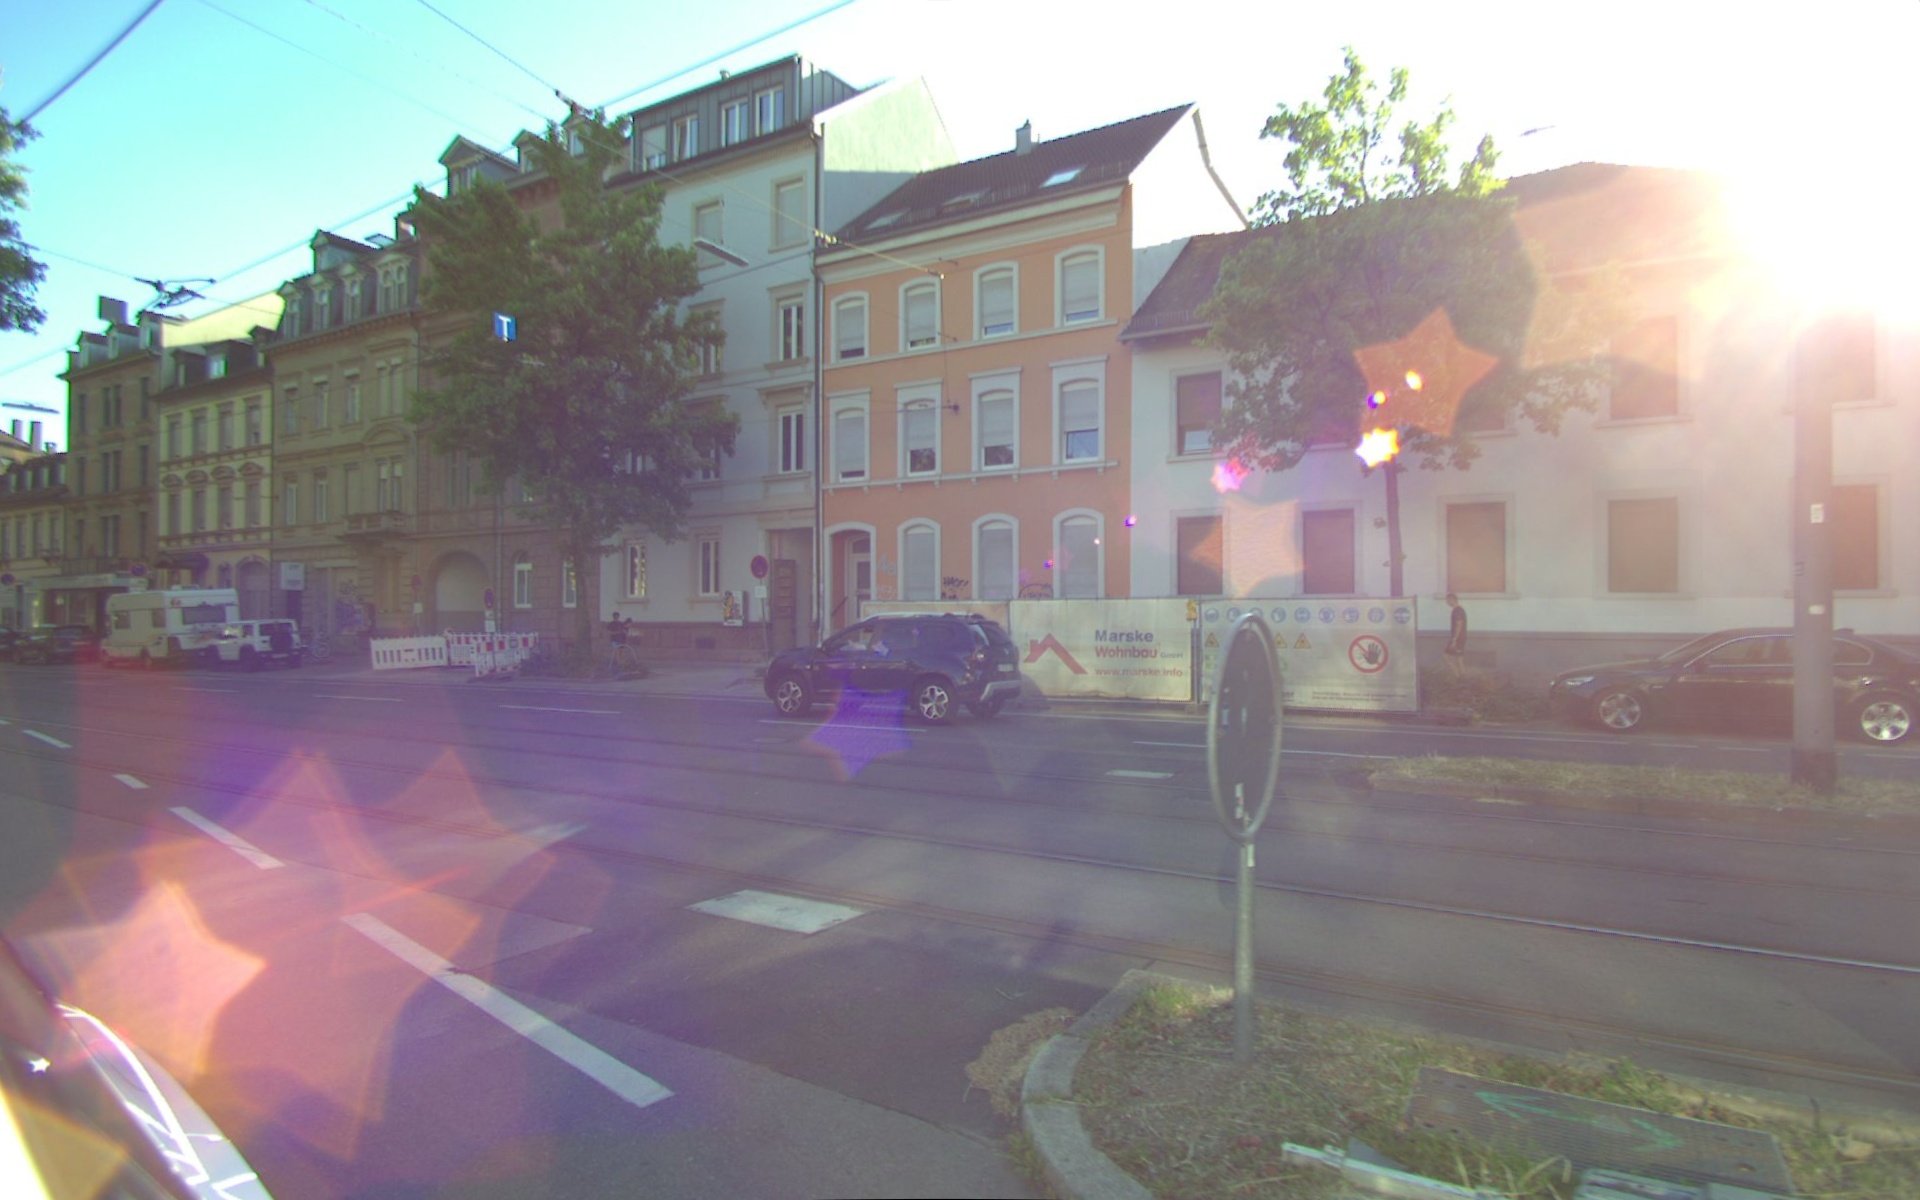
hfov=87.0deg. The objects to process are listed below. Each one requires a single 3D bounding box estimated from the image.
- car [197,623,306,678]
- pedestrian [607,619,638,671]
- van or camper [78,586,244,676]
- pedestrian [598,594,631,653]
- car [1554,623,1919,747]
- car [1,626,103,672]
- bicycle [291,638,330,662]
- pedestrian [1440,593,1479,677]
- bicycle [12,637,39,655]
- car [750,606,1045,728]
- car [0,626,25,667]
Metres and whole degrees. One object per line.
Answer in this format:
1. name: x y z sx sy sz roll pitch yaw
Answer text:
1. car: -23.981 1.675 34.254 3.355 1.718 1.621 -1 1 28
2. pedestrian: -9.972 1.322 29.897 0.605 1.472 0.572 -1 0 29
3. van or camper: -29.477 1.099 37.262 7.226 2.969 2.402 -1 2 32
4. pedestrian: -9.940 0.673 29.129 0.685 1.666 0.564 -1 0 29
5. car: 11.030 1.090 14.066 4.705 1.525 1.980 -1 -2 30
6. car: -37.666 2.003 41.962 4.424 1.718 1.798 -1 2 30
7. bicycle: -25.434 1.953 39.618 1.786 0.931 0.574 -1 -2 33
8. pedestrian: 9.607 0.675 19.453 0.636 1.582 0.590 -1 -2 29
9. bicycle: -51.356 2.544 55.625 2.112 0.976 0.500 -1 -2 31
10. car: -1.016 0.993 16.046 4.291 1.702 1.980 -1 -2 29
11. car: -44.347 2.120 45.534 4.730 1.715 1.980 -1 2 30
